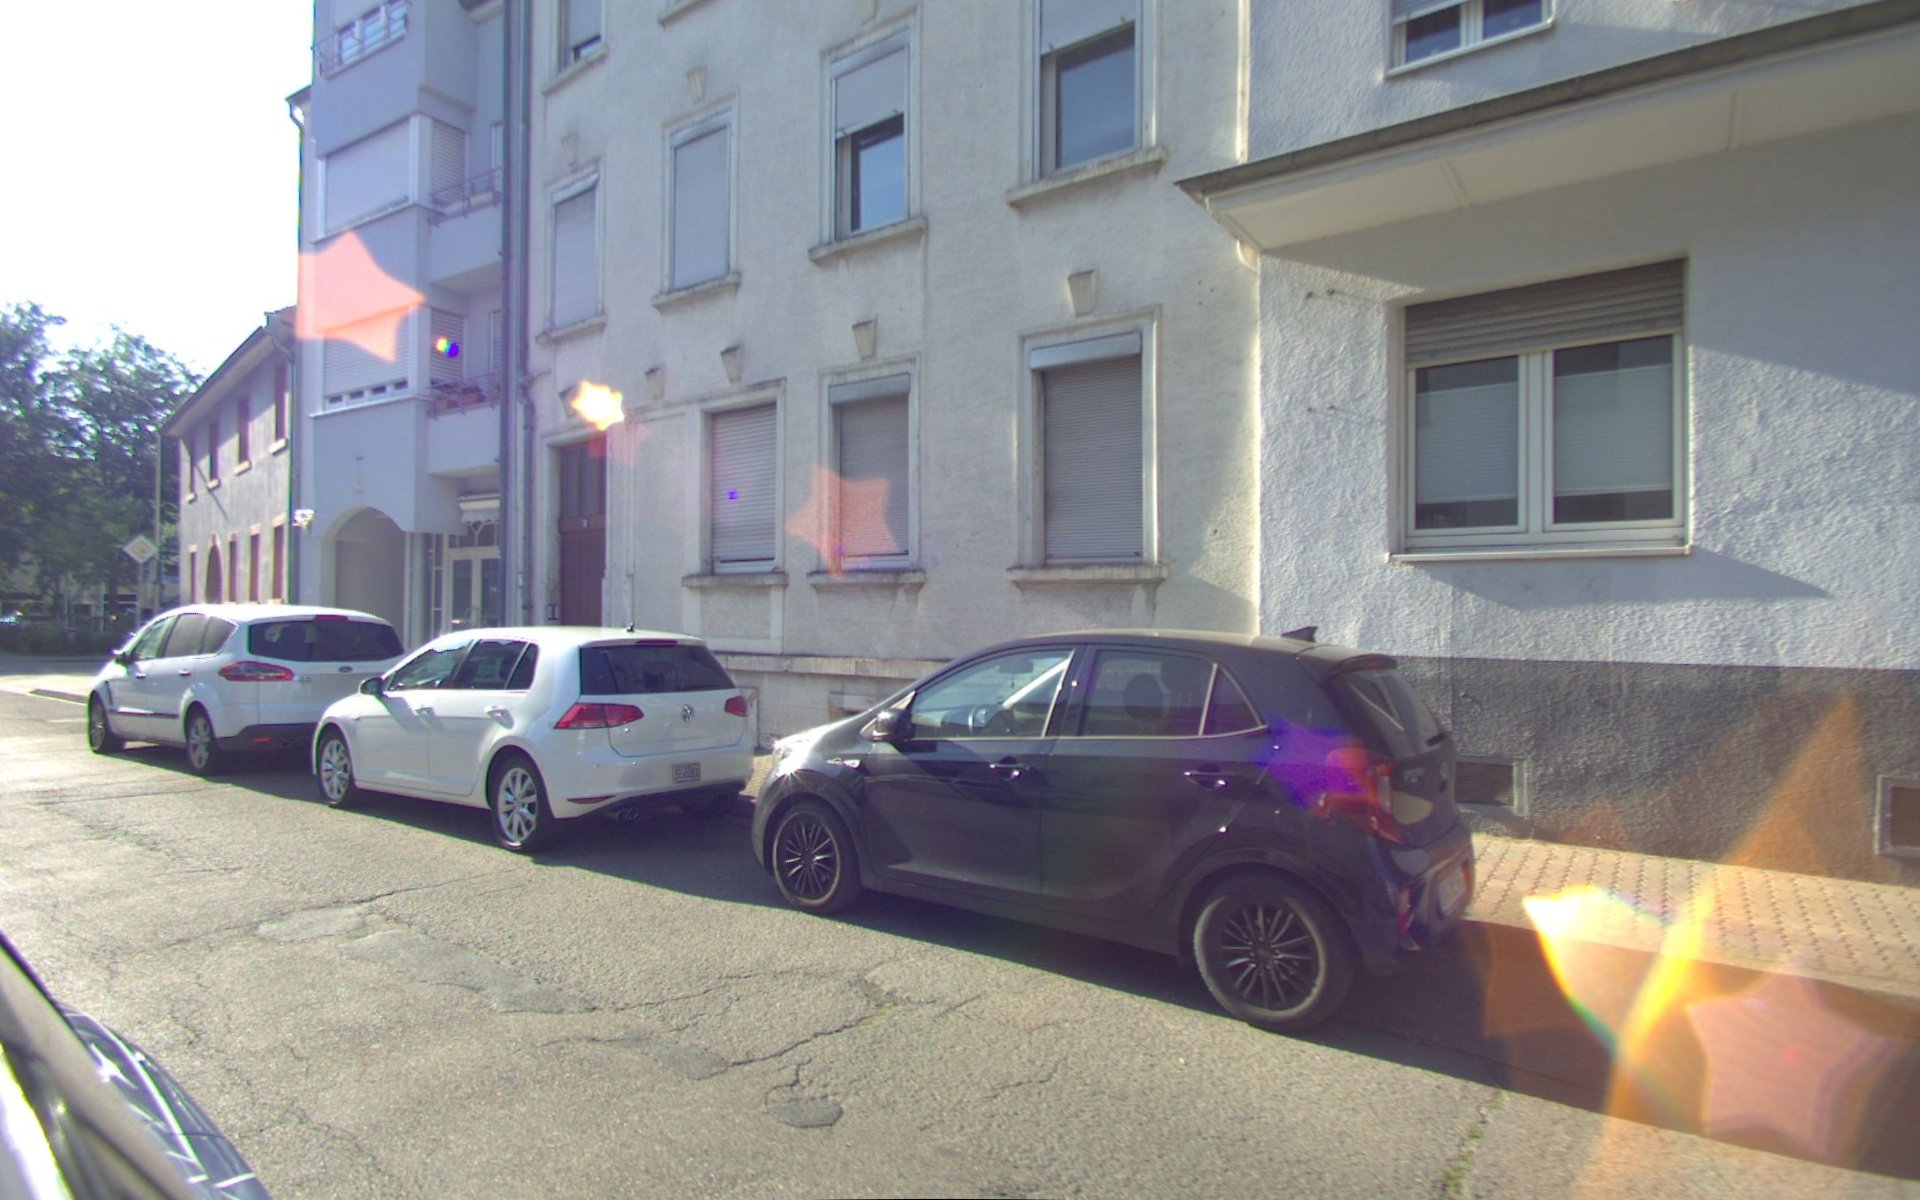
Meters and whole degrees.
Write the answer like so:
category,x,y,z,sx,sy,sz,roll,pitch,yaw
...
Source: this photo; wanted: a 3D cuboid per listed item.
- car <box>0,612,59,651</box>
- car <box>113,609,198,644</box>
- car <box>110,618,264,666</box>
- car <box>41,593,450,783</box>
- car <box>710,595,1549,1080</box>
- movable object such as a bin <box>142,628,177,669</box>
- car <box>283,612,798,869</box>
category,x,y,z,sx,sy,sz,roll,pitch,yaw
car,-48.770,1.622,52.420,4.890,1.909,1.829,-1,-2,32
car,-45.747,1.498,57.534,4.298,1.963,2.008,0,-2,24
car,-26.281,1.439,34.502,1.997,1.542,3.732,-2,-4,37
car,-8.004,0.826,11.156,5.208,1.660,1.977,-1,-2,34
car,0.644,0.813,5.053,3.803,1.538,1.645,-1,-3,37
movable object such as a bin,-22.019,1.315,27.829,0.750,1.102,0.593,-1,-1,37
car,-3.363,0.874,7.860,4.116,1.507,1.749,-1,-2,35
